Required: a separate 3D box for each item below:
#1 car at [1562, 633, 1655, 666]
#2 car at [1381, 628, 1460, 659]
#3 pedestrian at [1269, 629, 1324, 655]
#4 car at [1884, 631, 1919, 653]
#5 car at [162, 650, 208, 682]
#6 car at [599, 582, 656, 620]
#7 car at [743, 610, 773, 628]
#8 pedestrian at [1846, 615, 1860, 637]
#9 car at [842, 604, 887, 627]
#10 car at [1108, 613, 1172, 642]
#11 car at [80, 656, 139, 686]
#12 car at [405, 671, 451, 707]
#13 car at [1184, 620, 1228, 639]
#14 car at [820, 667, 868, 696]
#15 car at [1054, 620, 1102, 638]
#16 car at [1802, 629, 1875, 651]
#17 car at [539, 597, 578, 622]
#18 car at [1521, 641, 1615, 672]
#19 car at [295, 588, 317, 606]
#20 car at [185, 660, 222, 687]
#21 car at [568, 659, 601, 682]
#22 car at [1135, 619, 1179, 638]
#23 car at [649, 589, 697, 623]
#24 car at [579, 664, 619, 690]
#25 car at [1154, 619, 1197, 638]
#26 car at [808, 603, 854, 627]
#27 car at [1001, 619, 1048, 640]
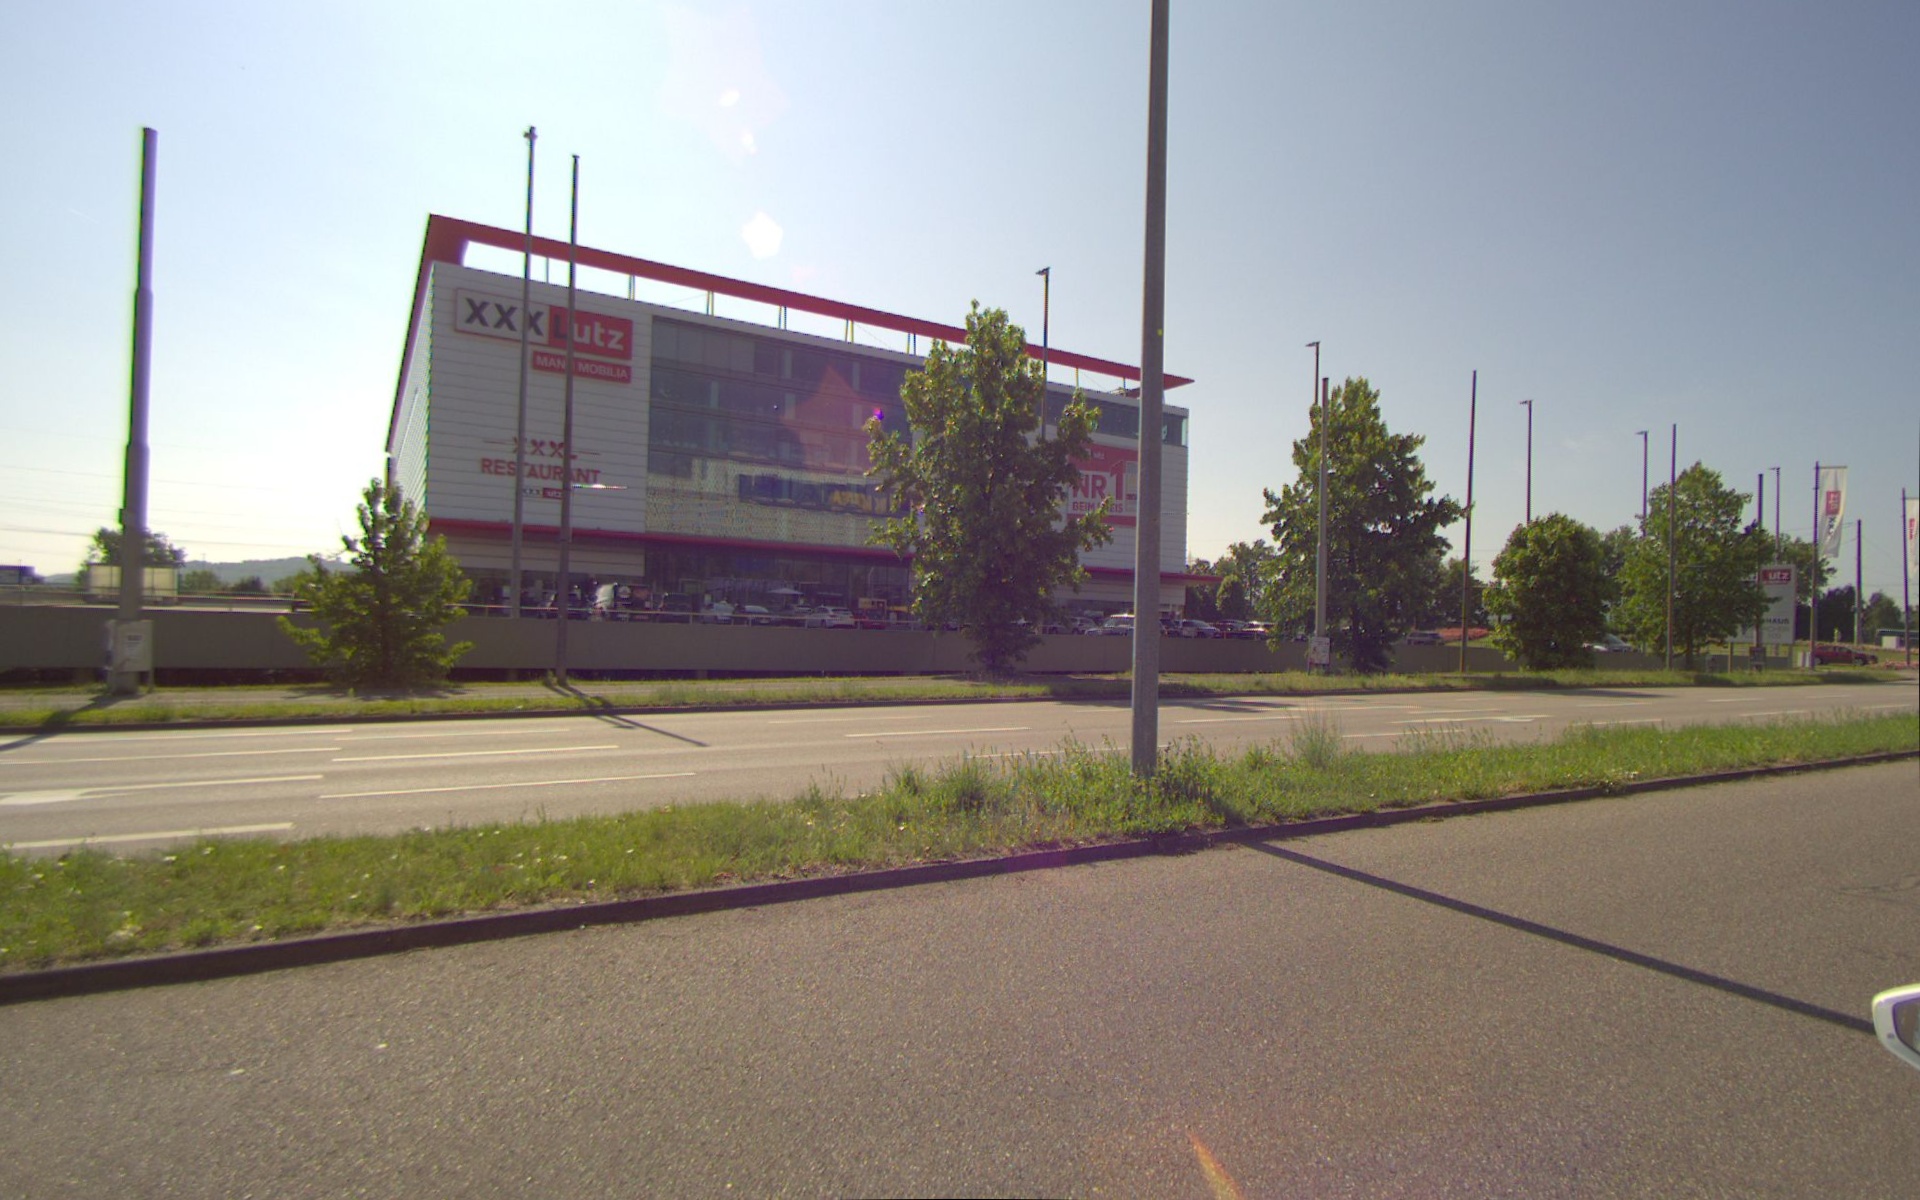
[{"bbox_3d":[39.639,2.985,61.491,1.924,1.867,4.389,3,-2,-32],"label":"car"},{"bbox_3d":[32.006,2.989,69.952,2.009,2.040,4.640,1,-2,-35],"label":"car"},{"bbox_3d":[28.243,3.513,84.355,3.922,2.040,2.000,2,-2,-1],"label":"pedestrian"},{"bbox_3d":[90.720,4.033,95.474,1.784,1.951,3.992,1,0,-10],"label":"car"},{"bbox_3d":[-26.440,2.251,34.302,1.060,0.988,1.925,3,-2,-34],"label":"car"},{"bbox_3d":[-14.495,0.085,43.764,1.755,1.577,2.751,1,-2,-33],"label":"car"},{"bbox_3d":[-11.613,1.105,57.653,1.060,0.988,1.925,2,-2,-34],"label":"car"},{"bbox_3d":[84.103,2.425,94.607,0.906,1.998,0.713,3,-2,-27],"label":"pedestrian"},{"bbox_3d":[-5.984,0.973,62.846,1.499,1.347,3.196,3,-2,-32],"label":"car"},{"bbox_3d":[7.117,1.099,39.926,1.060,1.073,2.497,3,-2,-34],"label":"car"},{"bbox_3d":[-19.937,1.657,23.582,0.850,0.629,1.549,3,-2,-34],"label":"car"},{"bbox_3d":[-16.617,2.759,31.356,1.060,0.988,1.925,3,-2,-34],"label":"car"},{"bbox_3d":[18.997,2.274,77.610,1.499,1.347,3.070,3,-2,-32],"label":"car"},{"bbox_3d":[-4.521,3.133,38.893,1.060,0.988,1.925,3,-2,-34],"label":"car"},{"bbox_3d":[8.330,2.047,71.140,1.465,1.214,3.479,3,-2,-32],"label":"car"},{"bbox_3d":[71.047,3.207,81.244,1.809,1.626,4.154,3,-2,-36],"label":"car"},{"bbox_3d":[-22.952,0.562,57.364,1.499,1.347,2.994,3,-2,-32],"label":"car"},{"bbox_3d":[35.627,3.285,58.938,1.852,1.649,4.386,3,-2,-33],"label":"car"},{"bbox_3d":[-38.543,-0.142,59.194,1.060,0.988,1.925,3,-2,-34],"label":"car"},{"bbox_3d":[-30.895,3.003,41.059,1.060,0.988,1.925,3,-2,-34],"label":"car"},{"bbox_3d":[-18.302,3.429,48.992,1.060,0.988,1.925,3,-2,-34],"label":"car"},{"bbox_3d":[14.694,2.134,74.863,1.499,1.310,3.070,3,-2,-32],"label":"car"},{"bbox_3d":[-15.890,0.352,55.499,1.674,1.781,3.070,3,-2,-32],"label":"car"},{"bbox_3d":[-15.006,3.197,41.723,1.060,0.988,1.925,3,-2,-34],"label":"car"},{"bbox_3d":[16.386,2.141,76.571,1.499,1.347,3.070,3,-2,-32],"label":"car"},{"bbox_3d":[-7.792,0.879,60.504,1.499,1.347,3.196,3,-2,-32],"label":"car"},{"bbox_3d":[4.422,2.023,68.912,1.686,1.347,3.070,3,-2,-32],"label":"car"}]
